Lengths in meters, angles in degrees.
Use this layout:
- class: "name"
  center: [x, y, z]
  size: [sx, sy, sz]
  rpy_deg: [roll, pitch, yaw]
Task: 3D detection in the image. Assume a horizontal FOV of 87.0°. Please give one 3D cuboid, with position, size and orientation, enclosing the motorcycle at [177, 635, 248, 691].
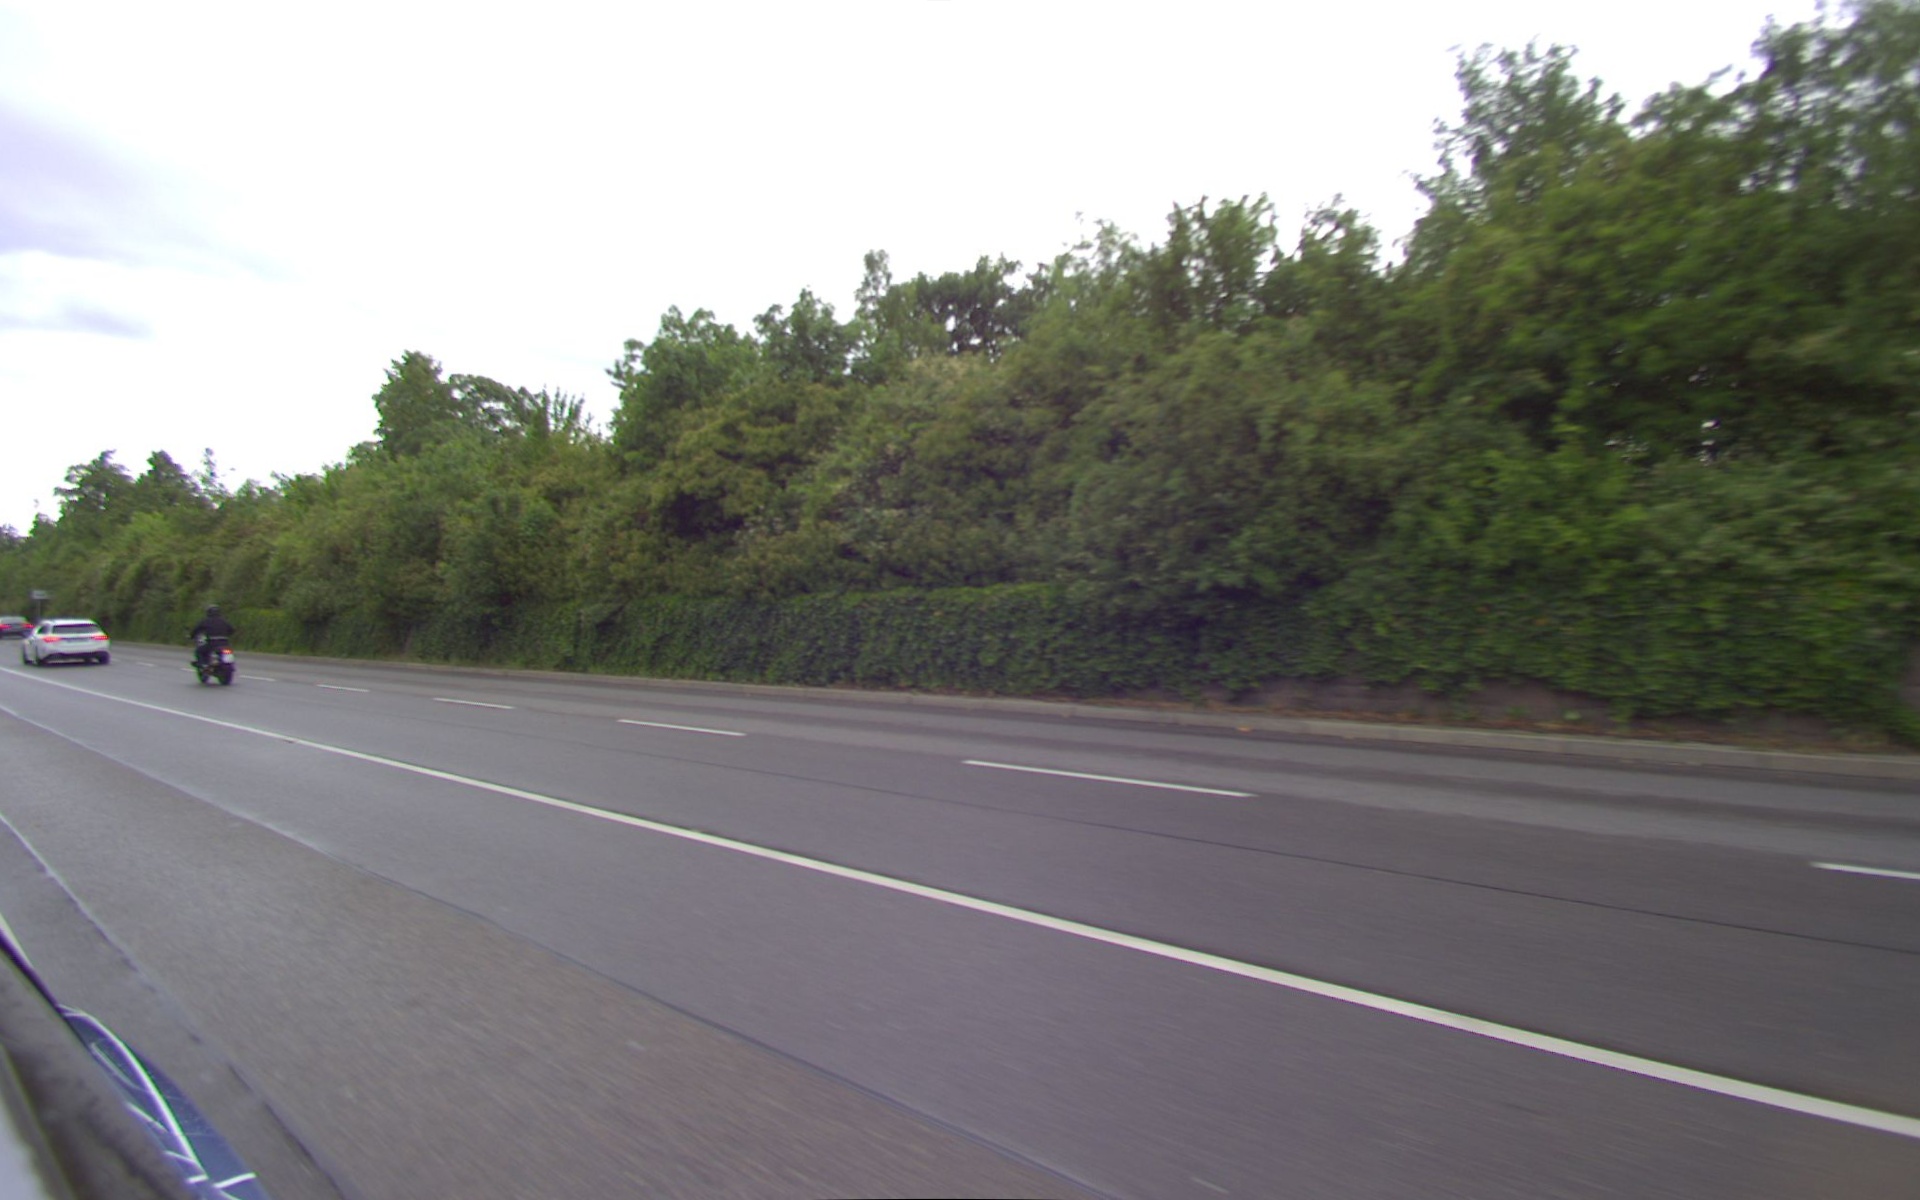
- class: "motorcycle"
  center: [-16.501, 1.352, 22.321]
  size: [2.230, 1.140, 0.797]
  rpy_deg: [-1, 0, 41]

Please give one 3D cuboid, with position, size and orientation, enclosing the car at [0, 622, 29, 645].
- class: "car"
  center: [-61.182, 2.162, 64.851]
  size: [4.835, 1.391, 1.741]
  rpy_deg: [-2, 0, 41]

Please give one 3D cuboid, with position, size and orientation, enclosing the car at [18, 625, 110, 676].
- class: "car"
  center: [-29.341, 1.609, 33.094]
  size: [4.514, 1.516, 1.697]
  rpy_deg: [-2, 0, 41]

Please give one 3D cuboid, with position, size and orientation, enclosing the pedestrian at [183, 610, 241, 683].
- class: "pedestrian"
  center: [-16.495, 1.000, 22.311]
  size: [1.111, 1.553, 0.797]
  rpy_deg: [-1, -1, 41]
